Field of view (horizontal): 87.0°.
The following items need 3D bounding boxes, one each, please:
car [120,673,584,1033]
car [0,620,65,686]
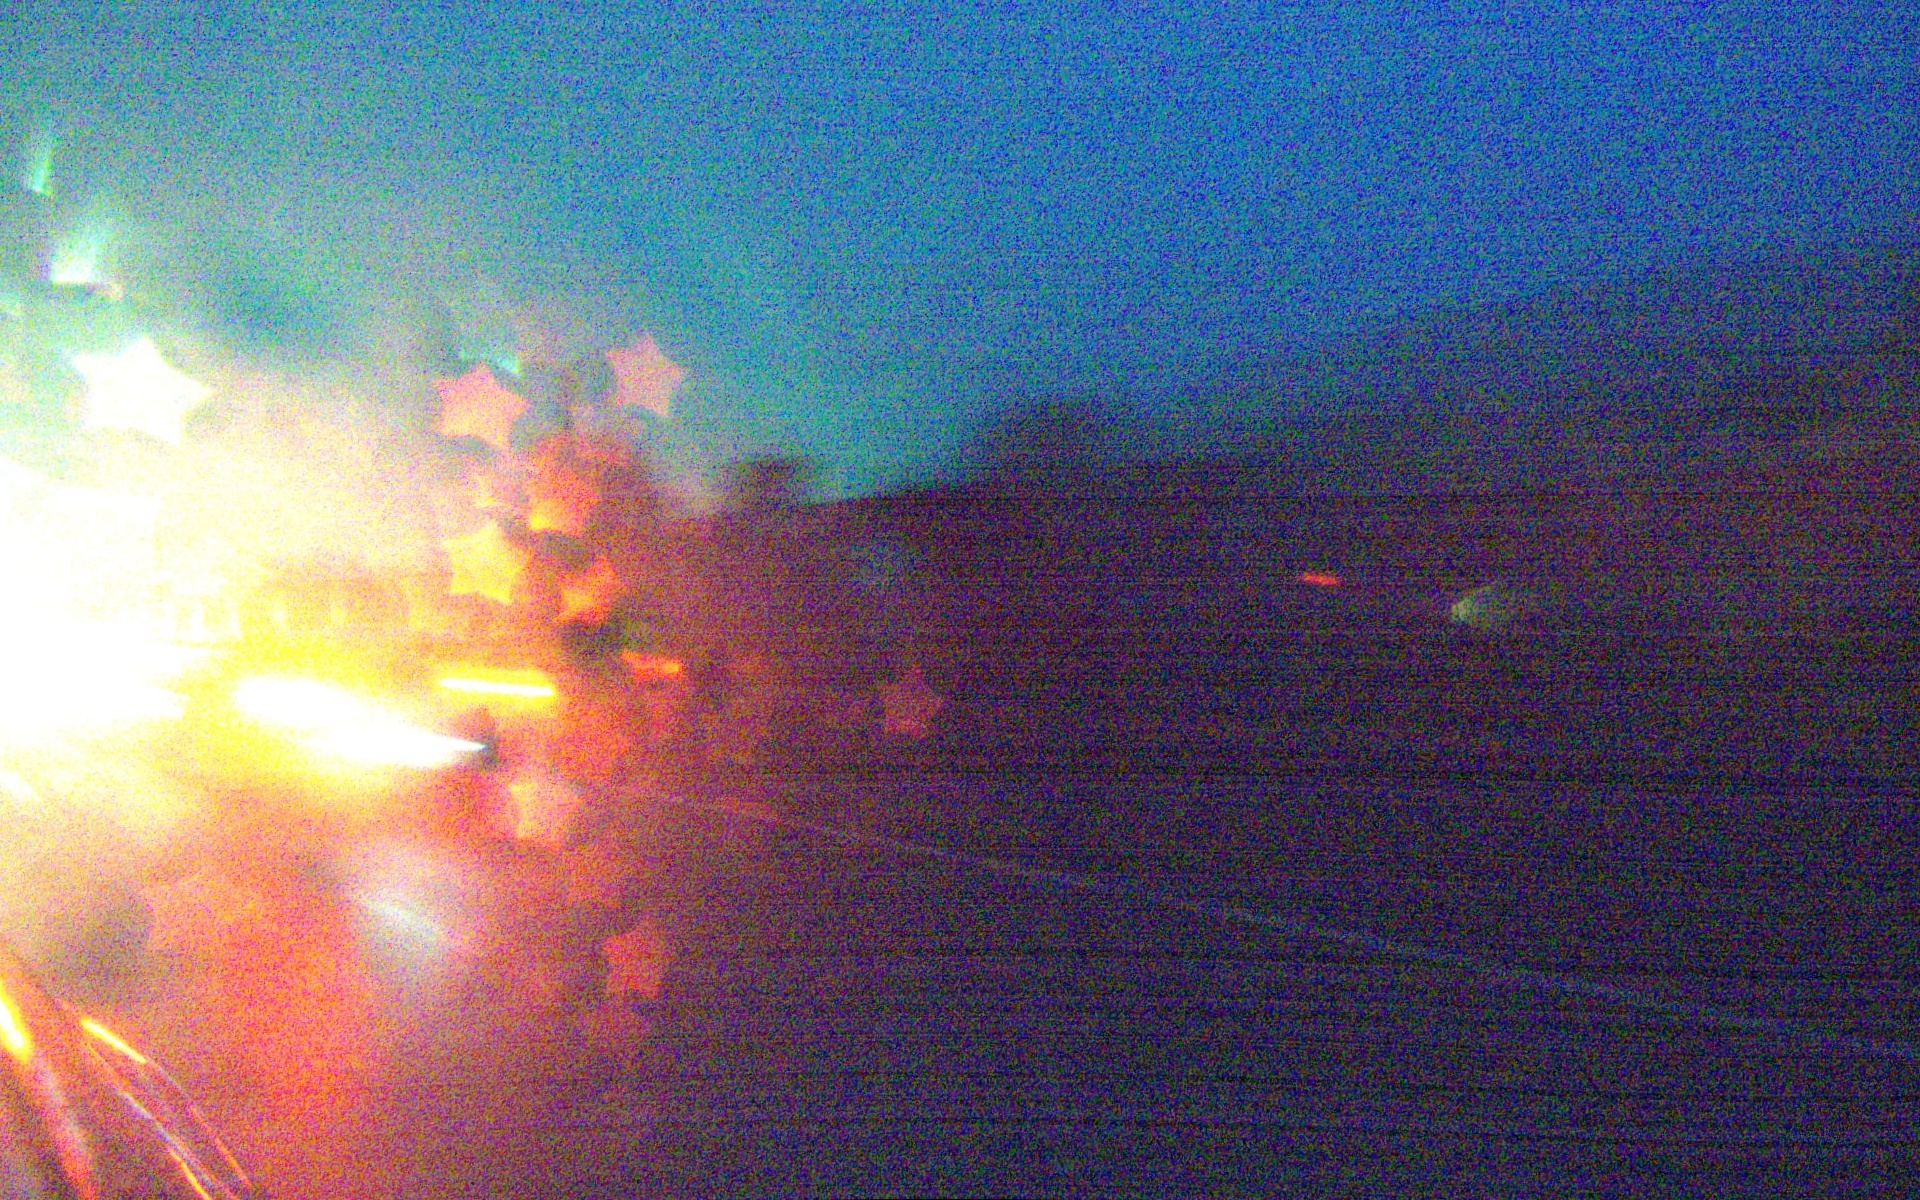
[{"bbox_3d":[-5.082,1.702,8.273,3.995,2.029,1.974,-2,-1,38],"label":"car"},{"bbox_3d":[-25.053,1.381,26.532,4.346,1.587,1.905,-2,-1,42],"label":"car"}]
